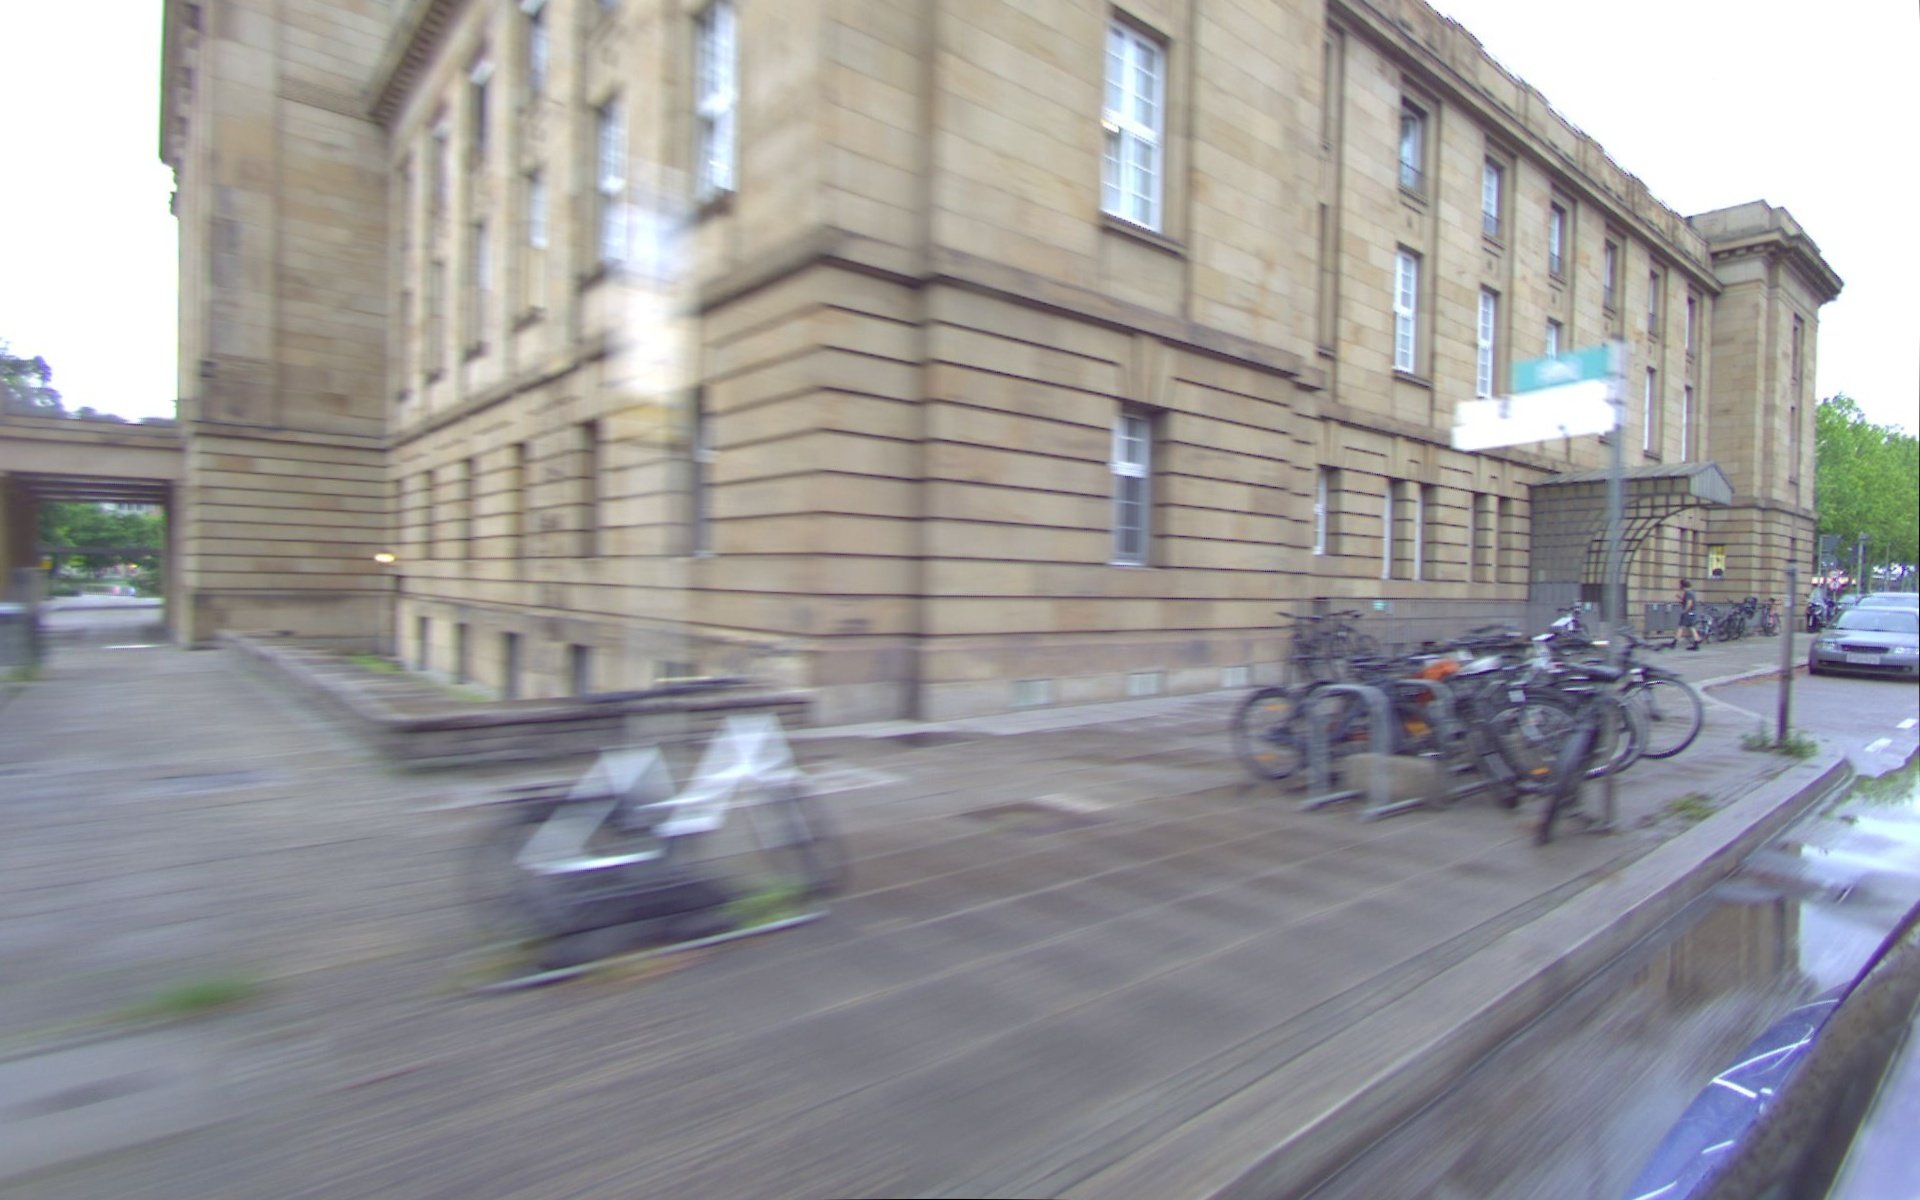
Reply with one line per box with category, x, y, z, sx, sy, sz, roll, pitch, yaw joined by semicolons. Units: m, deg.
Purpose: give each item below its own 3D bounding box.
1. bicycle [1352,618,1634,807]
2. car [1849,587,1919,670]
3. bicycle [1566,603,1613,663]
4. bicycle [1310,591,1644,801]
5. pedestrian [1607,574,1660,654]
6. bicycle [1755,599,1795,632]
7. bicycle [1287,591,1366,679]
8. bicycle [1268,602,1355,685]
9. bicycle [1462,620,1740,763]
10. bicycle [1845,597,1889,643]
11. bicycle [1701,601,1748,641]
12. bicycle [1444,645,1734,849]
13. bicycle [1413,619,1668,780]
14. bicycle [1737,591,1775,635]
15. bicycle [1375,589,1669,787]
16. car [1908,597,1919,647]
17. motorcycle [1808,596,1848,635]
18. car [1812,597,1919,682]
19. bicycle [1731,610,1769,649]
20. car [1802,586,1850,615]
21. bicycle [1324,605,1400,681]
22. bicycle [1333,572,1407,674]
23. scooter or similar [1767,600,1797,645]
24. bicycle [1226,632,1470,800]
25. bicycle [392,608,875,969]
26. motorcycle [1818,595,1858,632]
bicycle;3.733;0.720;7.210;0.590;1.137;1.683;1;0;-38
car;22.507;0.602;23.613;4.113;1.803;1.998;-1;1;-39
bicycle;13.611;0.694;21.872;1.663;1.230;0.464;-1;1;-43
bicycle;3.815;0.619;7.685;0.639;1.353;2.196;0;1;-38
pedestrian;15.779;0.302;23.723;0.631;1.799;0.797;0;4;-41
bicycle;27.532;0.521;34.178;1.736;1.063;0.420;0;1;-29
bicycle;5.568;0.506;15.334;1.573;1.267;0.454;0;-1;-43
bicycle;5.083;0.600;14.570;1.759;1.093;0.352;-1;3;-42
bicycle;5.683;0.754;9.074;0.747;1.073;1.987;0;1;-43
bicycle;26.686;0.573;29.800;0.774;1.233;1.939;3;3;37
bicycle;20.794;0.554;27.518;1.727;1.051;0.585;-1;1;-38
bicycle;3.650;0.784;5.864;1.603;0.980;0.672;0;0;-26
bicycle;4.644;0.739;8.197;0.639;1.104;1.683;0;1;-38
bicycle;24.307;0.383;30.899;0.730;1.284;1.731;2;2;43
bicycle;4.312;0.594;7.910;0.639;1.349;1.910;0;1;-38
car;29.187;0.657;29.426;3.093;1.431;1.765;-1;3;-36
motorcycle;31.359;0.543;36.556;2.096;1.342;0.669;-1;1;-38
car;18.683;0.726;20.286;3.638;1.496;1.935;-1;1;-41
bicycle;23.053;0.835;29.507;0.712;1.064;1.713;1;1;44
car;50.110;0.011;58.557;2.967;1.556;1.585;-1;3;-39
bicycle;6.243;0.645;15.660;1.759;1.093;0.352;-1;0;-42
bicycle;6.488;0.348;15.984;1.573;1.535;0.454;0;-1;-43
scooter or similar;27.269;0.739;33.567;1.244;1.434;0.414;0;5;-38
bicycle;2.734;0.767;7.272;0.515;1.007;1.593;0;0;-38
bicycle;-1.338;0.672;4.324;1.868;1.212;0.607;-1;3;-34
motorcycle;32.990;0.497;38.028;1.766;1.315;0.809;-1;1;-38
